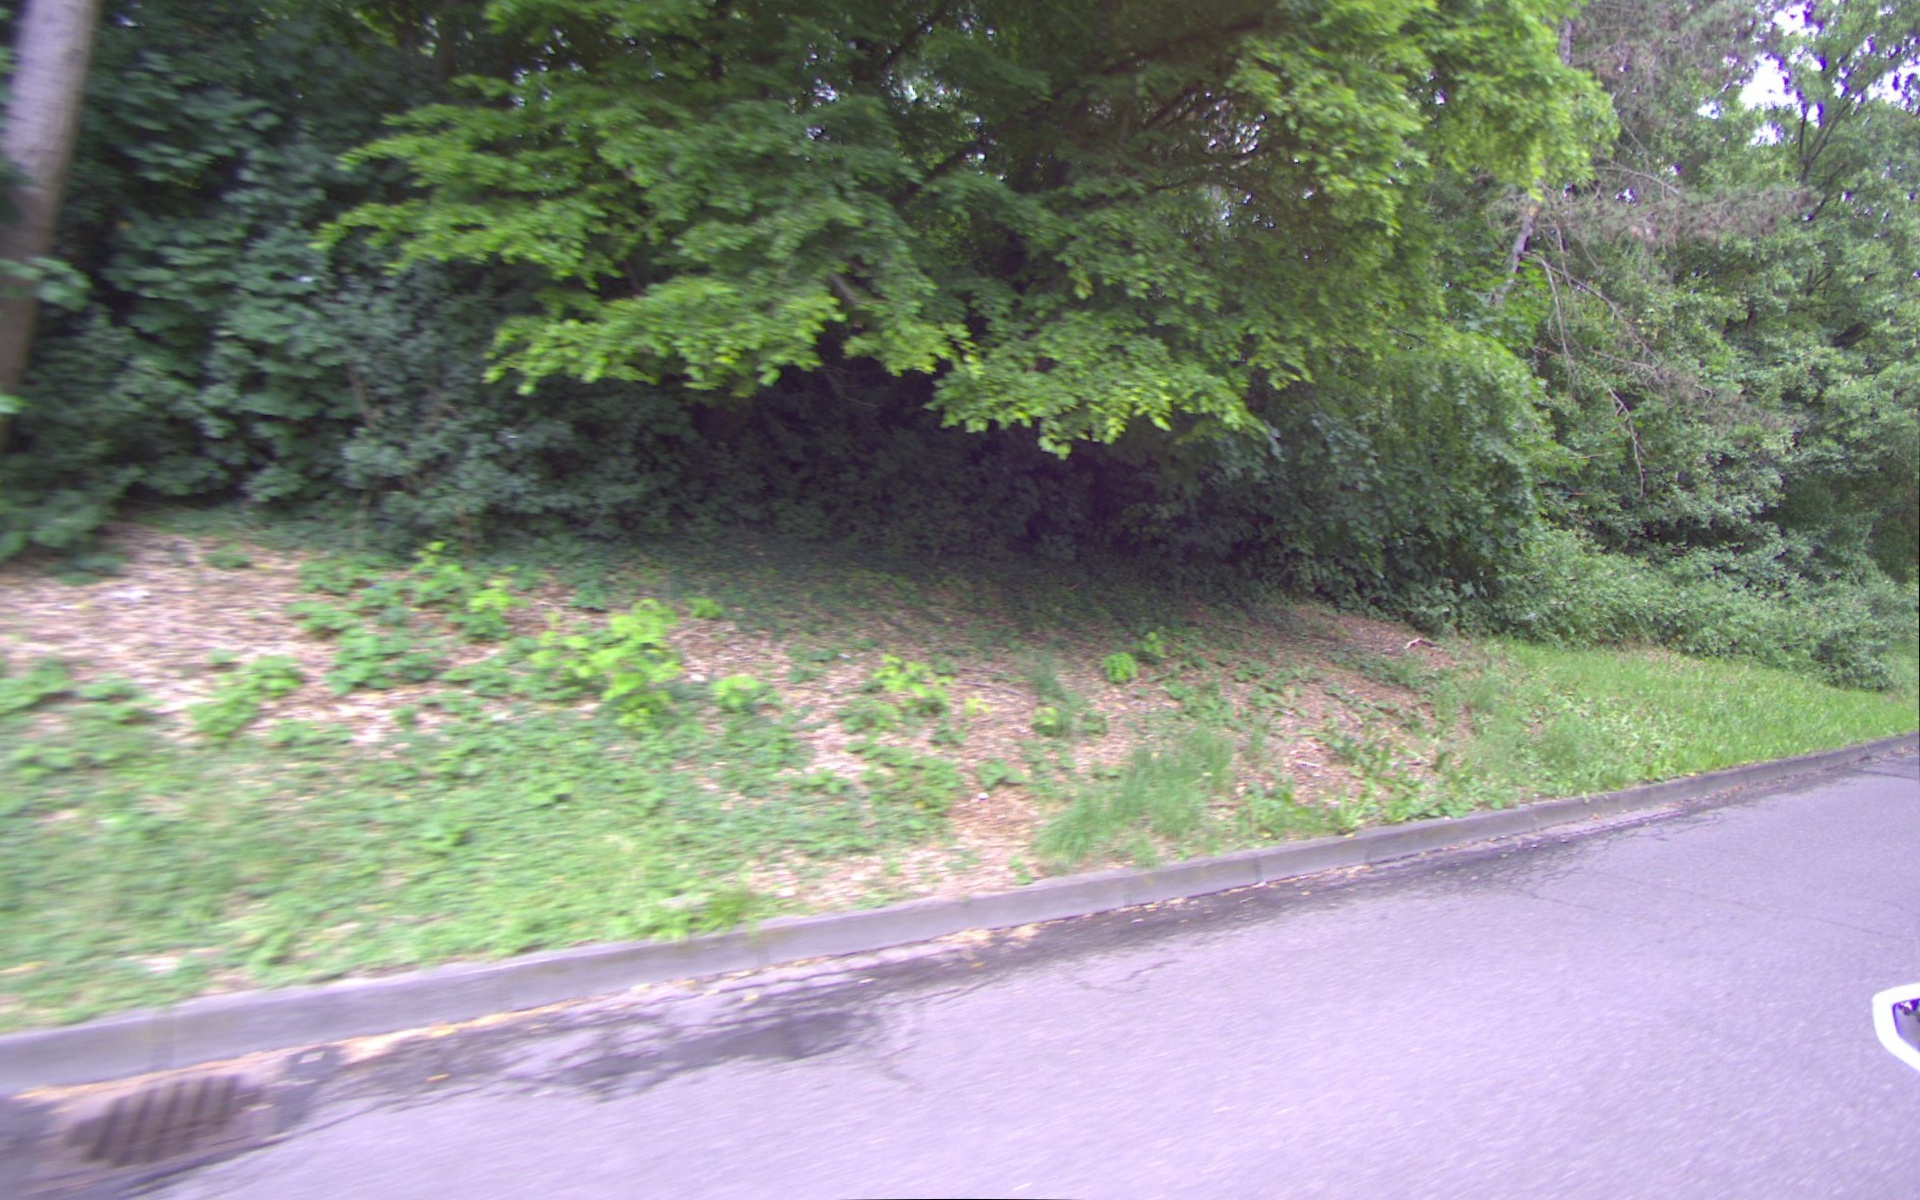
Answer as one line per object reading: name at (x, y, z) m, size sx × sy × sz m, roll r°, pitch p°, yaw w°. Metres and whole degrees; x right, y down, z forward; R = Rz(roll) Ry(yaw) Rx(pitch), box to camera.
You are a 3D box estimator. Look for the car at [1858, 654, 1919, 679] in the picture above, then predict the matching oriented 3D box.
car at (65.853, 4.687, 71.159) m, size 1.961 × 1.492 × 4.000 m, roll 4°, pitch 0°, yaw 20°
